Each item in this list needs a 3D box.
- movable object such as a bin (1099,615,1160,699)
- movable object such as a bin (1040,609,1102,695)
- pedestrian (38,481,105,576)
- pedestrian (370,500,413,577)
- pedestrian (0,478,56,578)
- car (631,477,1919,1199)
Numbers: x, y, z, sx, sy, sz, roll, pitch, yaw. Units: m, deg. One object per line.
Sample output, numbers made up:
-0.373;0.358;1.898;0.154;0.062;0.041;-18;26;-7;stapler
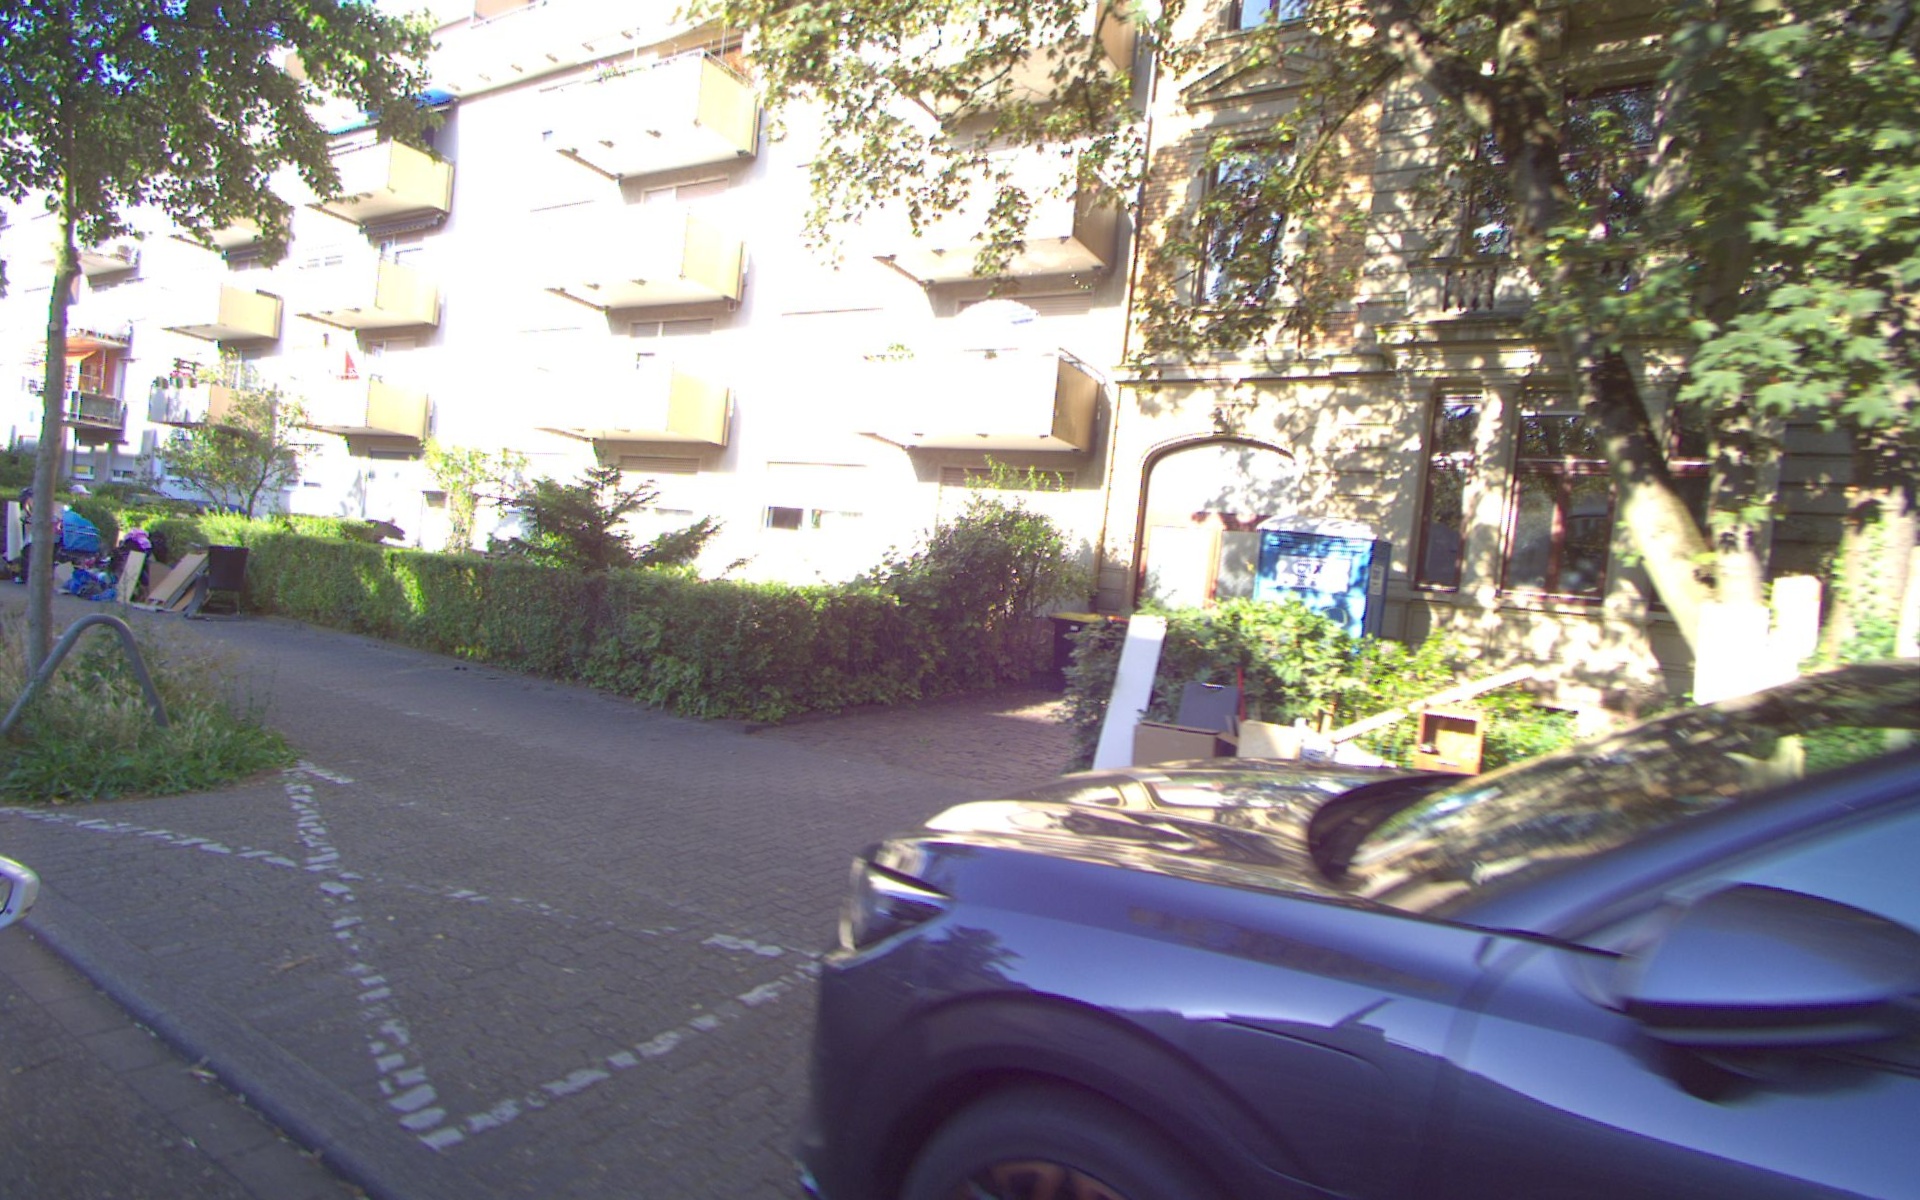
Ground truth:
2.344;0.787;13.909;0.611;1.072;0.452;7;1;30;movable object such as a bin
1.493;0.692;13.534;0.611;1.072;0.408;7;1;30;movable object such as a bin
-15.569;-1.238;17.640;0.585;1.560;0.692;5;1;-21;pedestrian
-12.847;-1.383;22.731;0.526;1.661;0.475;6;1;13;pedestrian
-16.355;-1.248;17.424;0.747;1.661;0.692;6;1;-22;pedestrian
1.669;0.791;1.634;4.240;1.625;1.855;6;3;32;car
